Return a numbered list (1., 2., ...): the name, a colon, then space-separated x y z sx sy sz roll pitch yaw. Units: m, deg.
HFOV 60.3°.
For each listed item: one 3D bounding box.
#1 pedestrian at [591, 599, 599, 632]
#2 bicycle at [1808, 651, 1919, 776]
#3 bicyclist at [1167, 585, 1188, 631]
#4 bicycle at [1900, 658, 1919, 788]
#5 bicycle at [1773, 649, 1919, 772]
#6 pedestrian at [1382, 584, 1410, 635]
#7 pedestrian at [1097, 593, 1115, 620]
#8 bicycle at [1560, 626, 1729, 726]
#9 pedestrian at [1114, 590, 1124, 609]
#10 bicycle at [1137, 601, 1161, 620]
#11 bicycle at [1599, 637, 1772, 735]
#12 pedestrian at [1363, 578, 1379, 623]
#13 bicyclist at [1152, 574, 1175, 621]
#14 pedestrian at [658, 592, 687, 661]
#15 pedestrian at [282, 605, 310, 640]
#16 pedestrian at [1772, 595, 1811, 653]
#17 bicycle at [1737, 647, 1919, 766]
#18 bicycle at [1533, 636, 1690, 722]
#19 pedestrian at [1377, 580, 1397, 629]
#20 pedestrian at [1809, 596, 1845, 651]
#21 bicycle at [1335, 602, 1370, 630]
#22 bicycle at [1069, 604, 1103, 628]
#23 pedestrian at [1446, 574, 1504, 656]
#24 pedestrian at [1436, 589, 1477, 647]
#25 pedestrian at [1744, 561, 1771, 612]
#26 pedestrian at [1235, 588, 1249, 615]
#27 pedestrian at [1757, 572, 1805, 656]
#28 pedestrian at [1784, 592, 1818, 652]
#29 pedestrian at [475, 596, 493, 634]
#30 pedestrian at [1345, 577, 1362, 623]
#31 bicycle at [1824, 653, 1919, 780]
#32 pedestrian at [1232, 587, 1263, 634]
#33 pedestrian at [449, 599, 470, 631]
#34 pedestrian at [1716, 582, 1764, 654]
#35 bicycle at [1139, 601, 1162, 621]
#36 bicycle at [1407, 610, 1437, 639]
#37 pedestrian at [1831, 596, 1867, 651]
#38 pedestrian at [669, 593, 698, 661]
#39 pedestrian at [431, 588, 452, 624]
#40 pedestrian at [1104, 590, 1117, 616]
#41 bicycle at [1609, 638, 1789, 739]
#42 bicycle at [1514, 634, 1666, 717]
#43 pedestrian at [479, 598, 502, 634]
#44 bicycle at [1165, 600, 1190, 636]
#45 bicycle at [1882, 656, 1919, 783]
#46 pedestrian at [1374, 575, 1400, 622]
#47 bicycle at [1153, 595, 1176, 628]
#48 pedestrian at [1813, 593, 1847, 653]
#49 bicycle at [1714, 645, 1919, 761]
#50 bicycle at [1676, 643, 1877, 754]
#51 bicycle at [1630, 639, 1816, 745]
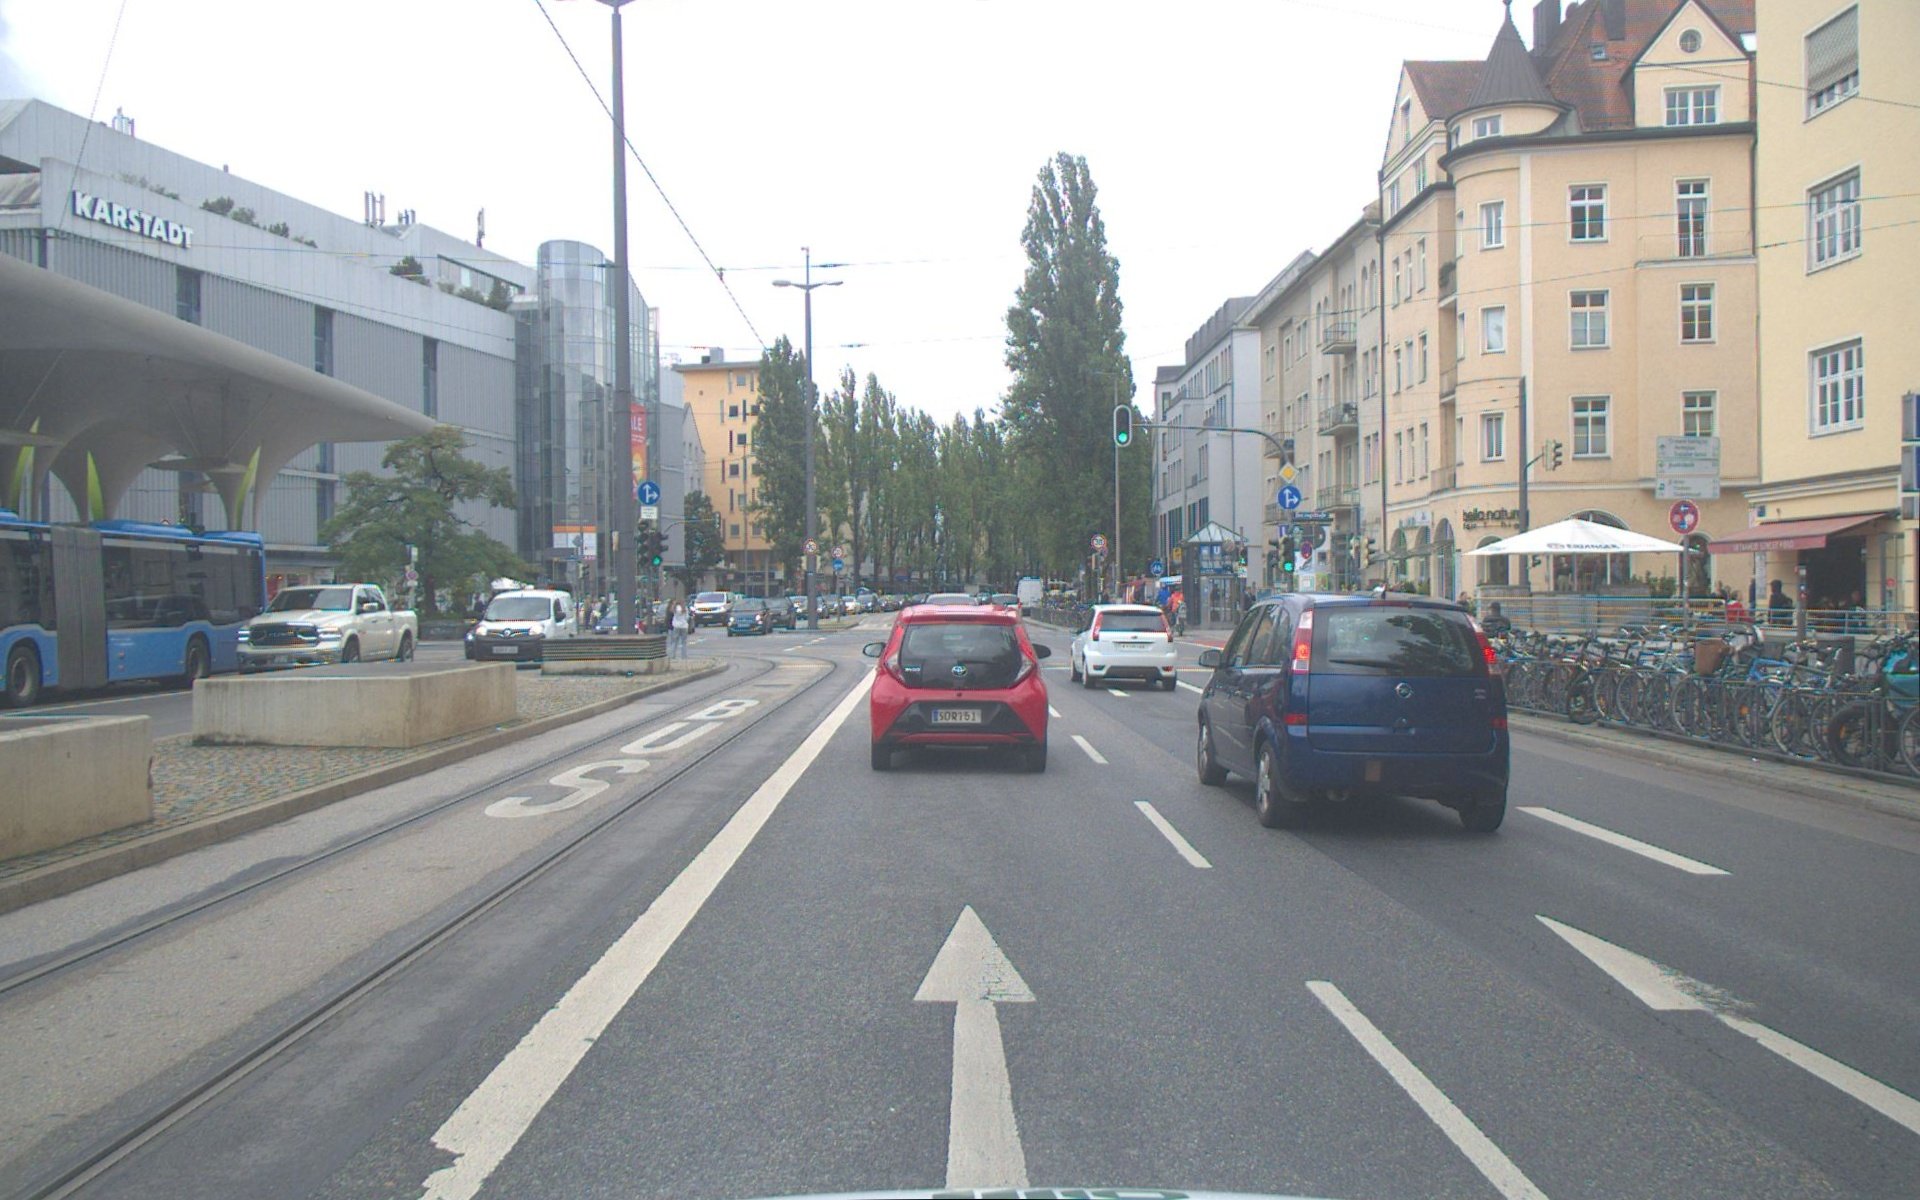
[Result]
1. pedestrian: -19.415 0.824 87.955 0.348 1.790 0.446 -1 0 -9
2. bicycle: 8.300 0.989 14.174 1.809 1.013 0.323 1 2 42
3. bicyclist: 8.101 0.286 61.621 0.601 1.686 1.251 -1 0 0
4. bicycle: 8.265 0.995 12.680 1.809 1.013 0.323 1 2 42
5. bicycle: 8.290 0.988 14.802 1.809 1.013 0.323 1 2 42
6. pedestrian: 15.635 0.330 59.329 0.913 1.786 1.066 -1 0 12
7. pedestrian: 8.468 0.383 95.848 0.783 1.549 0.810 -1 0 30
8. bicycle: 8.161 0.890 19.755 1.803 1.132 0.466 -1 0 32
9. pedestrian: 13.186 -0.049 137.369 0.698 1.585 0.676 -1 0 -1
10. bicycle: 9.897 0.550 86.575 1.157 0.980 0.369 -1 0 -2
11. bicycle: 8.312 0.966 19.004 1.808 1.013 0.323 1 2 40
12. pedestrian: 15.564 0.020 62.689 0.548 1.637 0.568 -1 3 12
13. bicyclist: 8.284 -0.111 67.408 0.747 1.902 1.133 -1 0 0
14. pedestrian: -7.024 0.644 40.399 0.482 1.646 0.551 -1 0 -35
15. pedestrian: -30.941 1.036 77.054 0.780 1.608 0.978 -1 0 11
16. pedestrian: 19.152 0.548 38.094 0.504 1.314 0.703 -1 0 -2
17. bicycle: 8.302 0.986 15.513 1.805 1.013 0.324 1 2 37
18. bicycle: 8.030 0.955 20.456 1.811 1.013 0.323 -1 0 44
19. pedestrian: 15.882 0.175 61.538 0.635 1.781 0.637 0 3 22
20. pedestrian: 18.768 0.500 35.810 0.468 1.186 0.527 -1 0 -2
21. bicycle: 15.502 0.640 65.365 0.486 1.077 1.859 -1 0 -15
22. bicycle: 5.572 0.710 73.227 0.495 1.046 1.577 -1 0 -42
23. pedestrian: 11.346 0.332 36.442 0.867 1.773 0.854 -1 0 -17
24. pedestrian: 13.495 0.487 44.976 0.717 1.567 0.887 -1 0 -15
25. pedestrian: 28.076 -0.484 58.210 0.666 1.734 0.748 -1 3 9
26. pedestrian: 17.320 0.074 101.501 0.717 1.630 0.742 -1 0 -1
27. pedestrian: 16.427 0.270 33.118 0.602 1.661 0.677 -1 0 -1
28. pedestrian: 18.718 0.495 36.829 0.468 1.322 0.527 -1 0 -2
29. pedestrian: -23.081 0.735 80.210 0.739 1.804 0.767 -1 0 -24
30. pedestrian: 14.880 0.009 62.540 0.554 1.699 0.562 0 3 22
31. bicycle: 8.197 0.989 13.731 0.322 1.013 1.813 -1 2 -43
32. pedestrian: 10.651 0.383 61.297 0.820 1.720 0.816 -1 0 37
33. pedestrian: -24.047 0.710 79.416 0.743 1.519 0.763 -1 0 -35
34. pedestrian: 15.926 0.362 33.776 0.662 1.447 0.616 -1 0 -1
35. bicycle: 9.906 0.571 86.032 1.156 0.980 0.369 -1 0 4
36. bicycle: 18.434 0.962 66.010 0.485 1.108 1.864 -1 0 -6
37. pedestrian: 19.286 0.511 35.888 0.468 1.186 0.527 -1 0 -2
38. pedestrian: -6.710 0.649 40.153 0.513 1.646 0.461 -1 0 43
39. pedestrian: -25.420 0.283 81.077 0.779 1.717 0.852 -1 0 -35
40. pedestrian: 10.351 0.211 113.531 0.774 1.758 0.764 -1 0 -1
41. bicycle: 8.206 0.966 18.426 1.808 1.013 0.323 1 2 40
42. bicycle: 8.066 0.953 21.230 1.811 1.013 0.345 -2 0 44
43. pedestrian: -22.495 0.750 79.242 0.754 1.683 0.752 -1 0 10
44. bicycle: 8.105 0.652 61.628 0.601 1.287 2.520 -1 0 0
45. bicycle: 8.370 0.995 13.136 0.322 1.013 1.813 -1 2 -43
46. pedestrian: 16.110 -0.057 62.379 0.637 1.734 0.726 -3 4 -30
47. bicycle: 8.290 0.440 67.206 0.601 1.287 2.520 -1 0 0
48. pedestrian: 19.412 0.511 36.903 0.468 1.322 0.527 -1 0 -2
49. bicycle: 8.358 0.985 16.117 1.805 1.013 0.324 1 2 37
50. bicycle: 8.308 0.982 16.885 1.805 1.013 0.324 1 2 37
51. bicycle: 8.149 0.967 17.733 1.811 1.013 0.323 1 2 45
